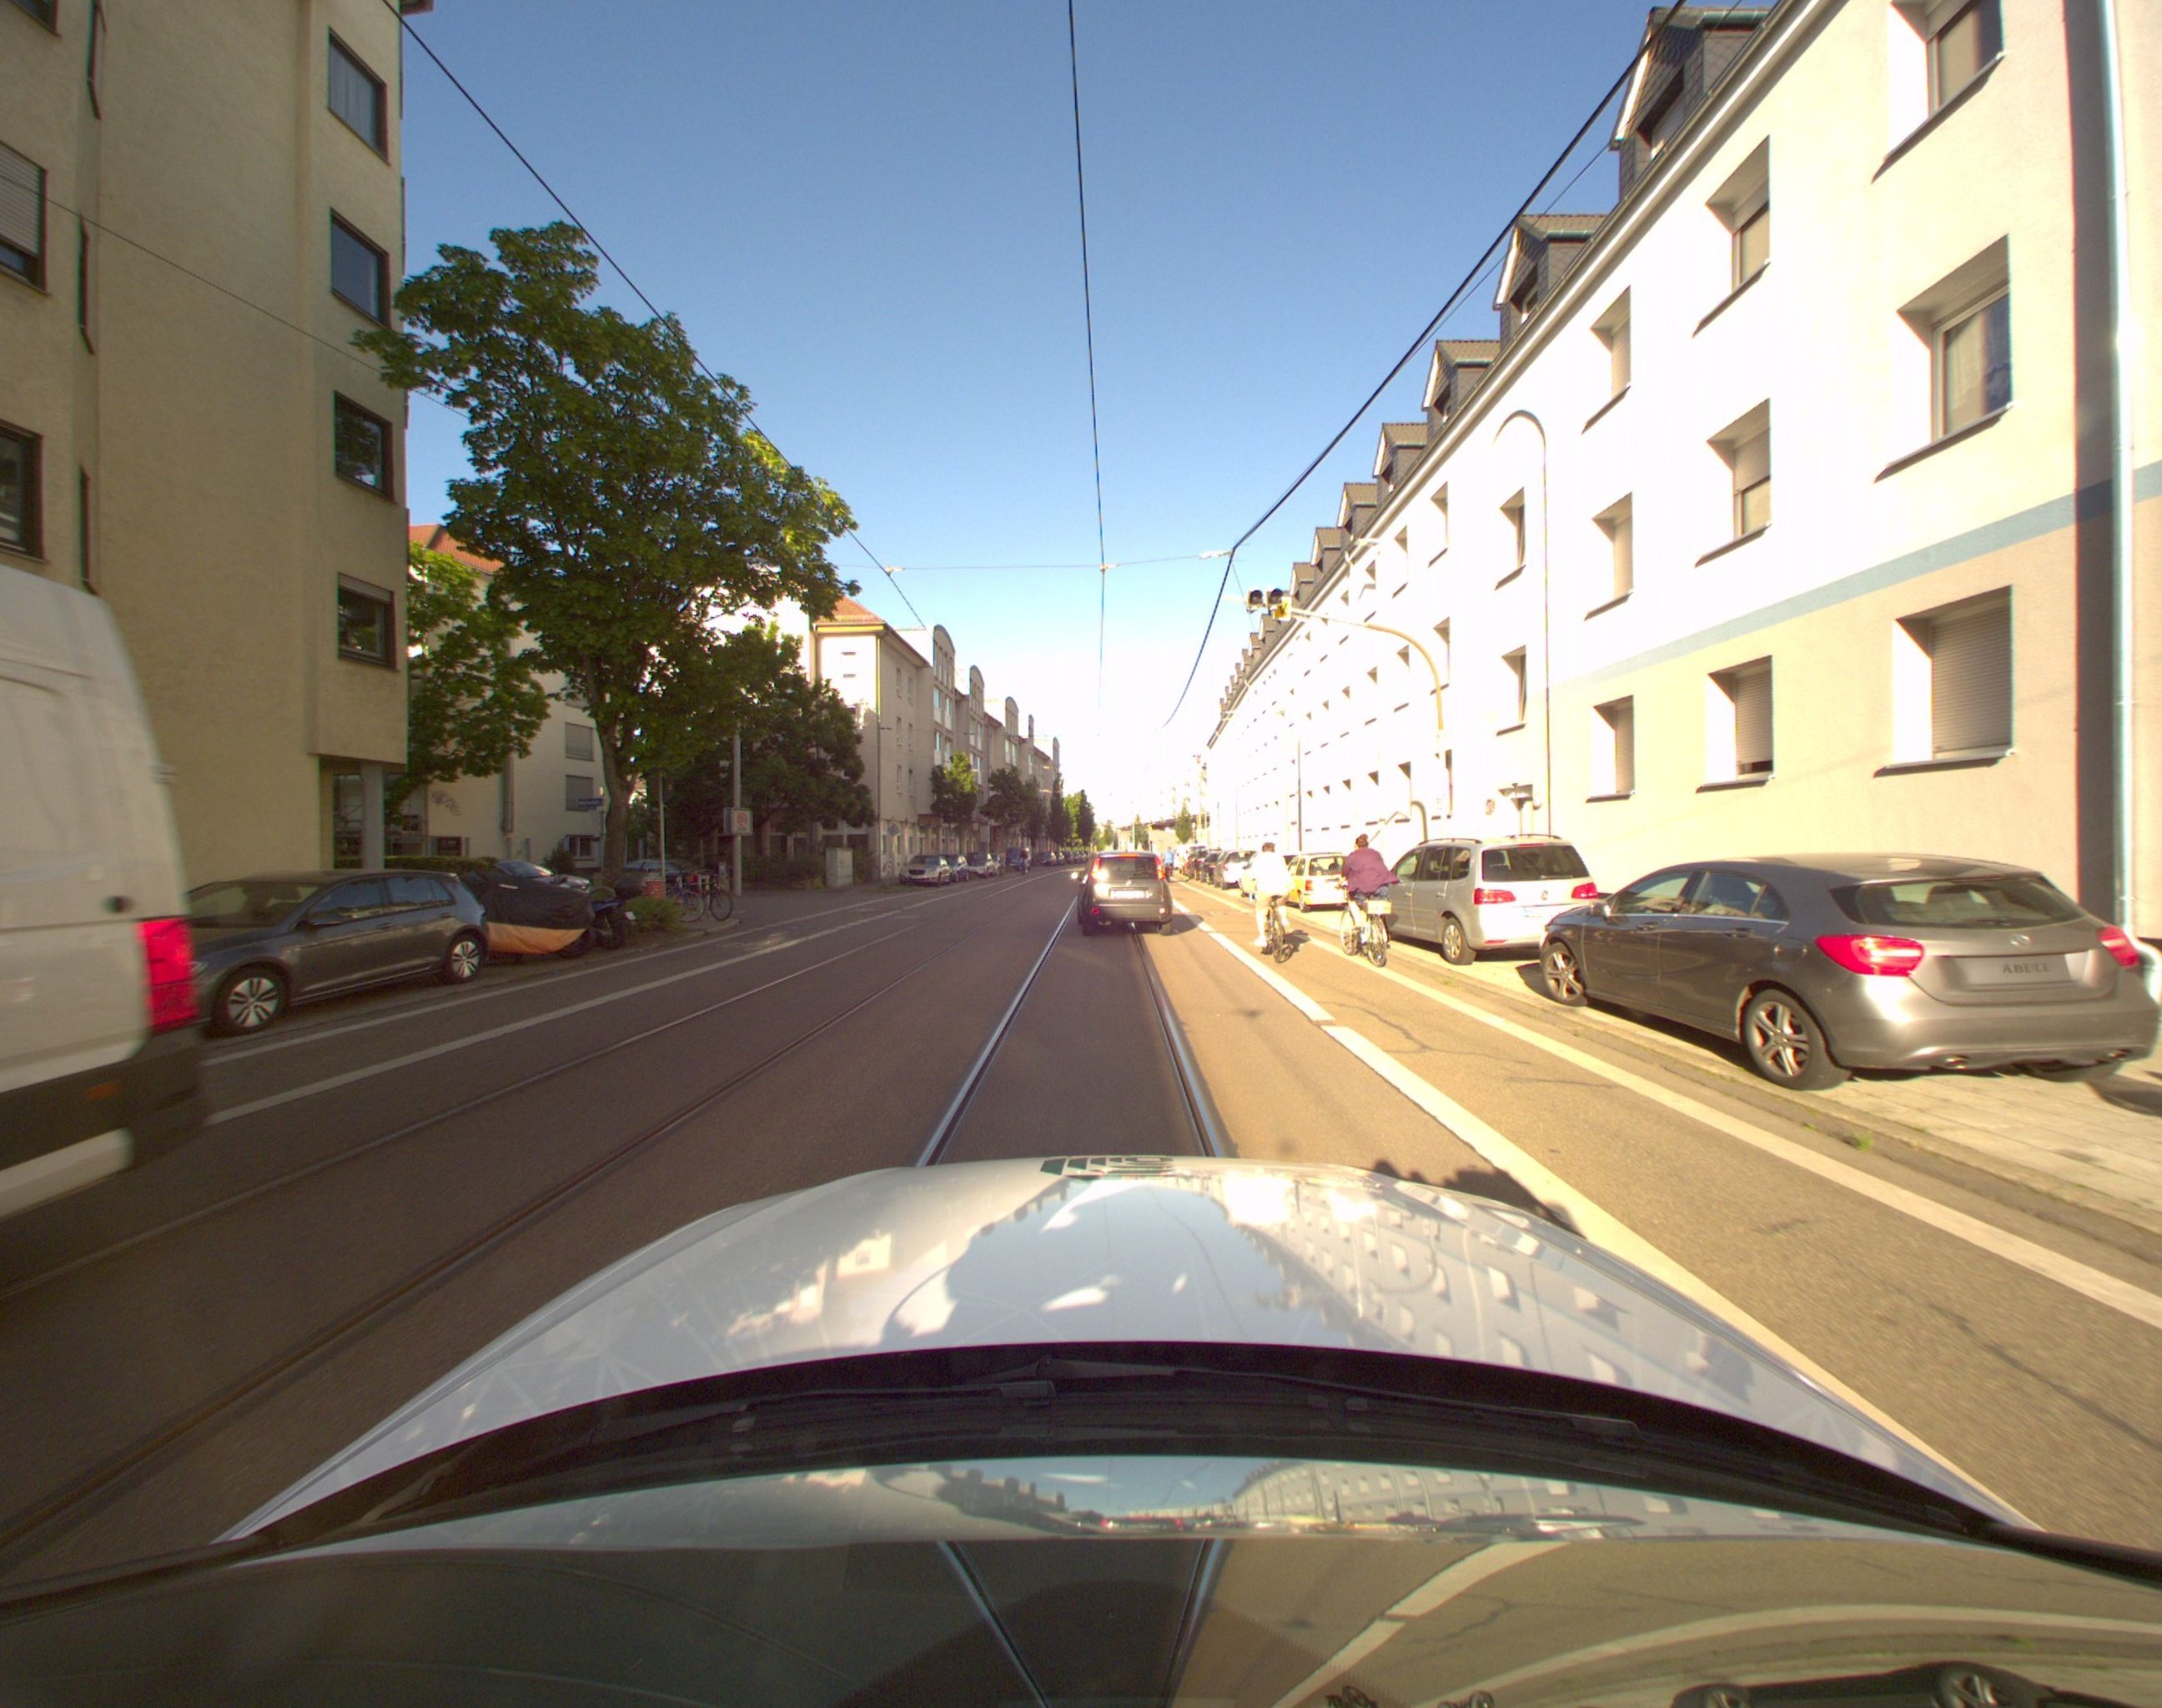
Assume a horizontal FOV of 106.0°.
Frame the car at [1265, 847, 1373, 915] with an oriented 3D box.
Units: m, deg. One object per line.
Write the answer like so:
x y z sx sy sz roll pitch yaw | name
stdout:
5.882 0.598 20.615 1.508 1.430 4.202 -4 0 1 | car

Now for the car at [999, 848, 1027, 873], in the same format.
-5.483 0.487 66.283 1.658 1.986 4.347 -1 0 4 | car

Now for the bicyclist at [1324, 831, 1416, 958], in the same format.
3.988 0.534 11.310 0.931 1.676 0.970 -1 0 1 | bicyclist

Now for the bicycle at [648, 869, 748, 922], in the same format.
-8.300 0.886 17.669 1.869 1.084 0.596 -1 0 3 | bicycle

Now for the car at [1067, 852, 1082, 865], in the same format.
-0.759 0.543 100.620 1.585 1.540 3.193 -1 0 3 | car

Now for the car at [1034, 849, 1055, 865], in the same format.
-3.663 0.286 82.176 1.658 1.618 4.004 -1 0 4 | car

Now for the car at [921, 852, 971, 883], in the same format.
-7.217 0.684 43.943 1.823 1.489 4.002 -3 0 2 | car

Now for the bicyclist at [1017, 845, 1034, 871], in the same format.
-3.543 0.243 51.763 0.878 1.561 0.868 -4 0 1 | bicyclist

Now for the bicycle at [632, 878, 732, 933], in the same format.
-8.336 1.064 17.053 1.798 1.084 0.596 -1 0 3 | bicycle

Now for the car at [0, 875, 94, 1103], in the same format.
-8.361 0.954 3.725 1.758 1.542 4.737 -1 0 3 | car

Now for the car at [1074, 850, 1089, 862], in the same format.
0.152 0.247 110.721 1.836 1.646 3.700 -1 0 3 | car

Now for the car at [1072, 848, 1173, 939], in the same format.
0.690 0.658 15.590 1.553 1.533 3.482 -1 0 -3 | car

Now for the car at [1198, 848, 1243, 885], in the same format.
6.480 0.538 38.268 1.585 1.537 4.011 -3 0 3 | car

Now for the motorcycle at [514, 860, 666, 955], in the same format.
-7.935 0.843 13.227 1.966 1.447 0.719 -1 0 -6 | motorcycle

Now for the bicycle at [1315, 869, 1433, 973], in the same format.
4.026 0.863 11.445 0.818 1.236 2.463 1 0 1 | bicycle

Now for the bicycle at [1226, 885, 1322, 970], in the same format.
2.723 0.996 11.836 0.736 0.924 2.837 2 0 1 | bicycle

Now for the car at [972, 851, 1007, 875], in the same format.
-6.376 0.618 57.043 1.823 1.593 4.002 -1 0 2 | car

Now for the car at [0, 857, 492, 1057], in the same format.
-8.503 0.831 8.544 1.731 1.542 4.126 -1 0 -2 | car

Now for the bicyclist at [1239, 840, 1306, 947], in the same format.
2.741 0.535 11.722 0.725 1.462 1.021 -1 0 1 | bicyclist

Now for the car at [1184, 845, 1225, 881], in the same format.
6.491 0.443 43.175 1.654 1.669 3.907 -4 0 3 | car

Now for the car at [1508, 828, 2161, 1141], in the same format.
5.338 0.653 6.373 1.856 1.554 4.370 -2 0 3 | car

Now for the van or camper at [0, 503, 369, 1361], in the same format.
-4.467 0.259 0.216 2.361 2.553 6.837 -1 0 2 | van or camper

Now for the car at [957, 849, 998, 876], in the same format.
-6.582 0.512 52.184 1.821 1.593 4.004 -1 0 4 | car

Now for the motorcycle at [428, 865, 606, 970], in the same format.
-8.276 0.905 12.036 1.966 1.447 0.835 -1 0 -6 | motorcycle

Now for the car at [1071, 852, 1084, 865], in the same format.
-0.428 0.546 104.888 1.585 1.540 3.193 -1 0 3 | car

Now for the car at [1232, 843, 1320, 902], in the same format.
5.866 0.503 24.998 1.673 1.571 4.511 -2 0 2 | car

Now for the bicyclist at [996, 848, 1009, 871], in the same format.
-4.969 0.345 51.614 0.621 1.380 0.868 -5 0 2 | bicyclist

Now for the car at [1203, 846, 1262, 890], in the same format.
6.046 0.514 32.813 1.747 1.571 3.907 -4 0 3 | car

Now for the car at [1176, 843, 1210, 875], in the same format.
7.211 0.296 52.885 1.779 1.970 4.158 -2 0 3 | car

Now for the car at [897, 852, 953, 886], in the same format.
-7.281 0.686 38.319 1.737 1.443 4.002 1 0 2 | car

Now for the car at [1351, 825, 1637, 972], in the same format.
5.666 0.516 11.958 1.750 1.665 4.624 -2 0 -1 | car

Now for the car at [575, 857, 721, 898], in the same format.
-15.935 0.869 30.098 4.532 1.388 1.717 -1 0 5 | car

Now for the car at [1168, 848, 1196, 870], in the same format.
7.952 0.402 64.239 1.836 1.646 4.552 -1 0 3 | car
